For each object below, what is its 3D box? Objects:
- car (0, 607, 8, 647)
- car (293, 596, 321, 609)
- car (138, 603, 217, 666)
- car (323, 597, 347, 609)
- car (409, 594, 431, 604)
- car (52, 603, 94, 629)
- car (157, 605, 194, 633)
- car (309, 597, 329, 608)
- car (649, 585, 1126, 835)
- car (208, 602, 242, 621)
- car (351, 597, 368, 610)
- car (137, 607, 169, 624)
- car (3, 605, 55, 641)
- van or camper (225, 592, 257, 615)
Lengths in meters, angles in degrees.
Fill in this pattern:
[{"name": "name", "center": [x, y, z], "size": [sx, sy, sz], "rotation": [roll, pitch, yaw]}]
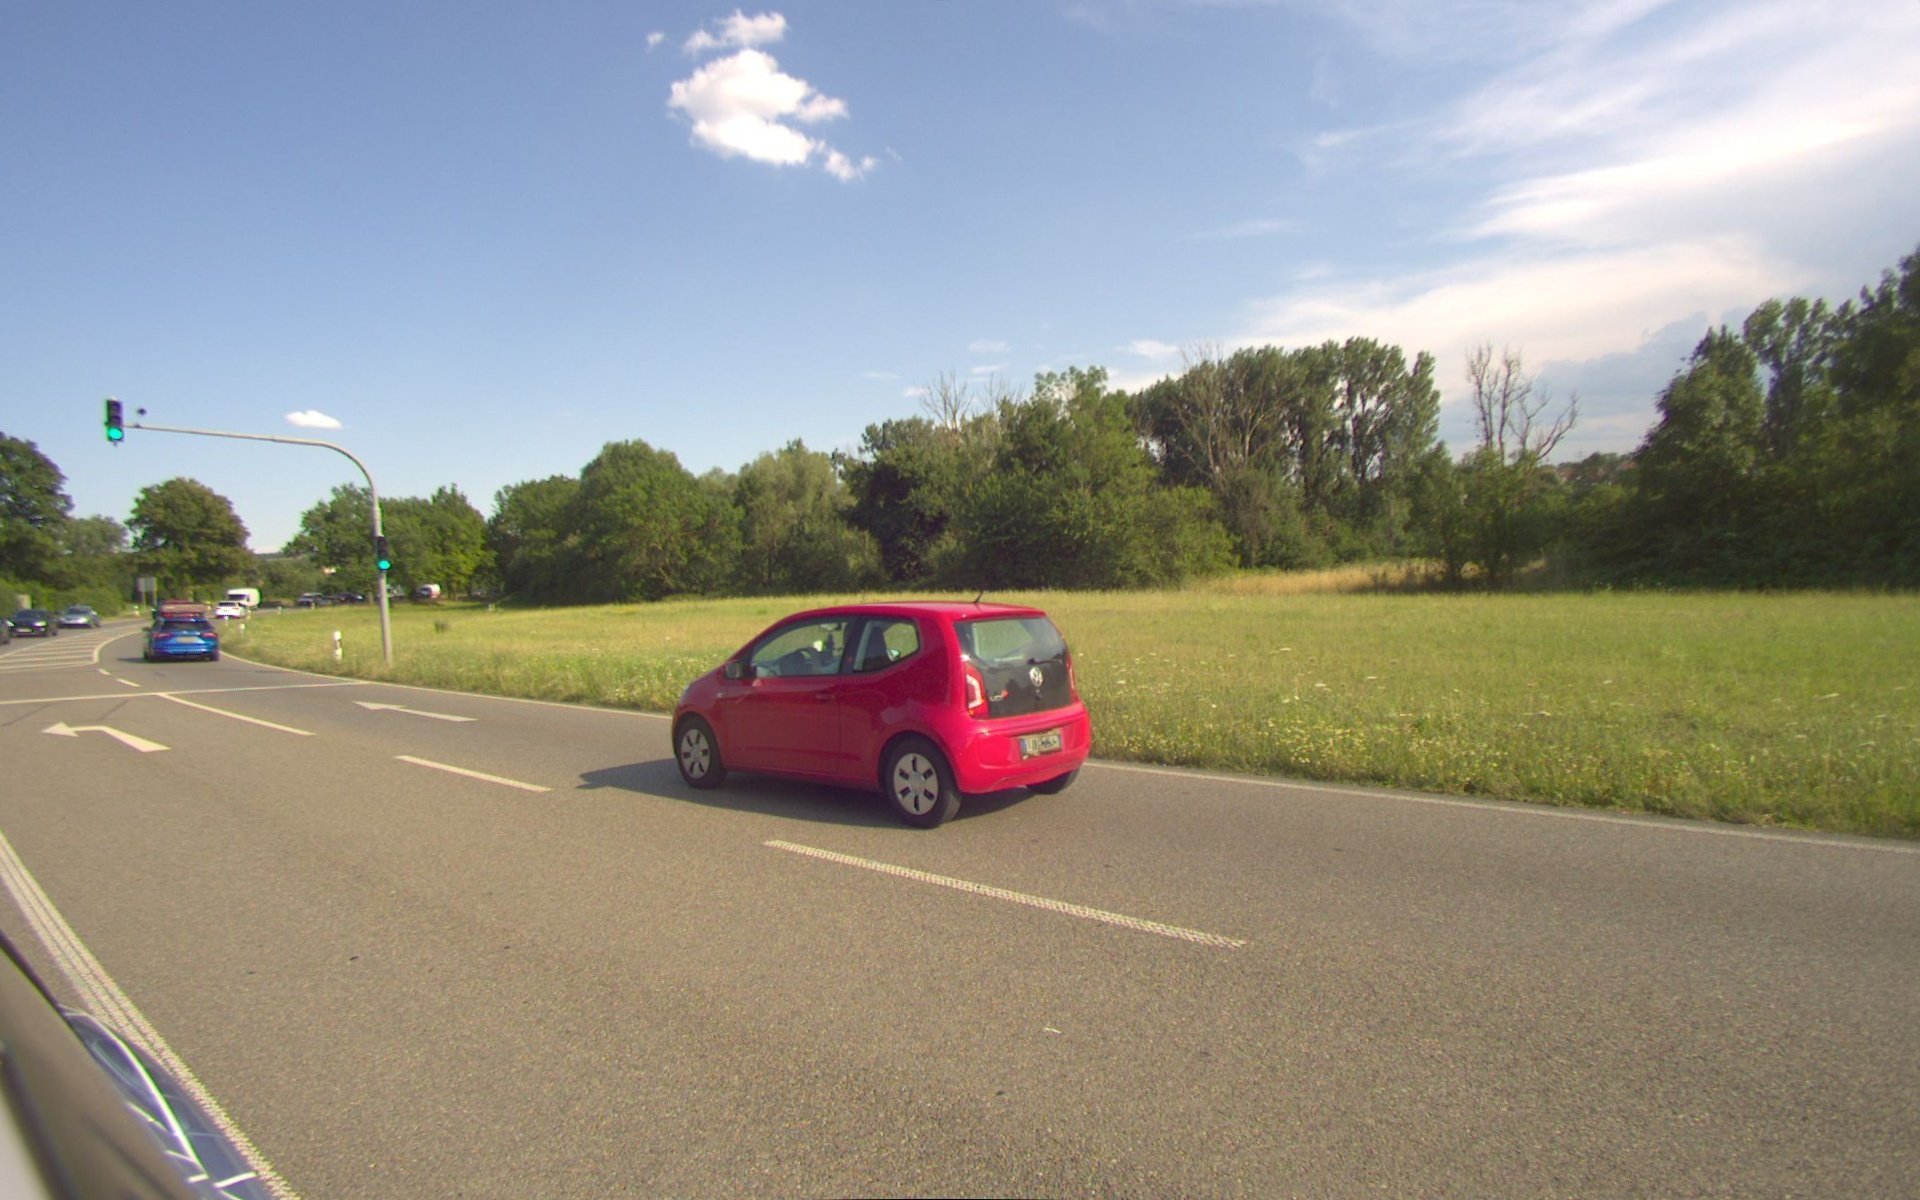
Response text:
[{"name": "car", "center": [-42.192, 1.164, 43.299], "size": [1.667, 1.741, 3.677], "rotation": [0, -1, -36]}, {"name": "car", "center": [-90.221, 0.307, 139.800], "size": [1.967, 1.563, 4.011], "rotation": [-3, 2, -13]}, {"name": "car", "center": [-25.289, 1.082, 32.654], "size": [1.703, 1.897, 4.341], "rotation": [0, -2, -42]}, {"name": "car", "center": [-94.304, 0.413, 152.673], "size": [1.966, 1.563, 4.012], "rotation": [-3, 2, -15]}, {"name": "car", "center": [-91.157, -0.113, 170.985], "size": [1.903, 1.598, 4.080], "rotation": [0, 0, -7]}, {"name": "car", "center": [-58.658, 1.043, 66.974], "size": [1.608, 1.570, 3.426], "rotation": [0, 0, -33]}, {"name": "car", "center": [-51.692, 1.279, 66.674], "size": [1.856, 1.789, 4.330], "rotation": [0, -1, -38]}, {"name": "car", "center": [-85.108, 0.333, 134.480], "size": [1.721, 1.477, 3.491], "rotation": [0, 0, -23]}, {"name": "car", "center": [-0.696, 0.692, 7.766], "size": [3.605, 1.478, 1.569], "rotation": [-2, -2, 41]}, {"name": "car", "center": [-66.209, 1.044, 91.224], "size": [1.854, 1.598, 4.343], "rotation": [0, -1, -28]}, {"name": "car", "center": [-96.572, 0.559, 162.861], "size": [1.385, 2.028, 3.243], "rotation": [-3, 2, -13]}, {"name": "car", "center": [-71.456, 1.386, 89.638], "size": [1.581, 1.490, 3.628], "rotation": [1, -1, -29]}, {"name": "car", "center": [-48.731, 1.166, 53.032], "size": [1.648, 1.741, 3.676], "rotation": [0, 0, -37]}, {"name": "van or camper", "center": [-82.273, 0.411, 115.914], "size": [2.000, 2.494, 5.094], "rotation": [-3, 1, -25]}]
